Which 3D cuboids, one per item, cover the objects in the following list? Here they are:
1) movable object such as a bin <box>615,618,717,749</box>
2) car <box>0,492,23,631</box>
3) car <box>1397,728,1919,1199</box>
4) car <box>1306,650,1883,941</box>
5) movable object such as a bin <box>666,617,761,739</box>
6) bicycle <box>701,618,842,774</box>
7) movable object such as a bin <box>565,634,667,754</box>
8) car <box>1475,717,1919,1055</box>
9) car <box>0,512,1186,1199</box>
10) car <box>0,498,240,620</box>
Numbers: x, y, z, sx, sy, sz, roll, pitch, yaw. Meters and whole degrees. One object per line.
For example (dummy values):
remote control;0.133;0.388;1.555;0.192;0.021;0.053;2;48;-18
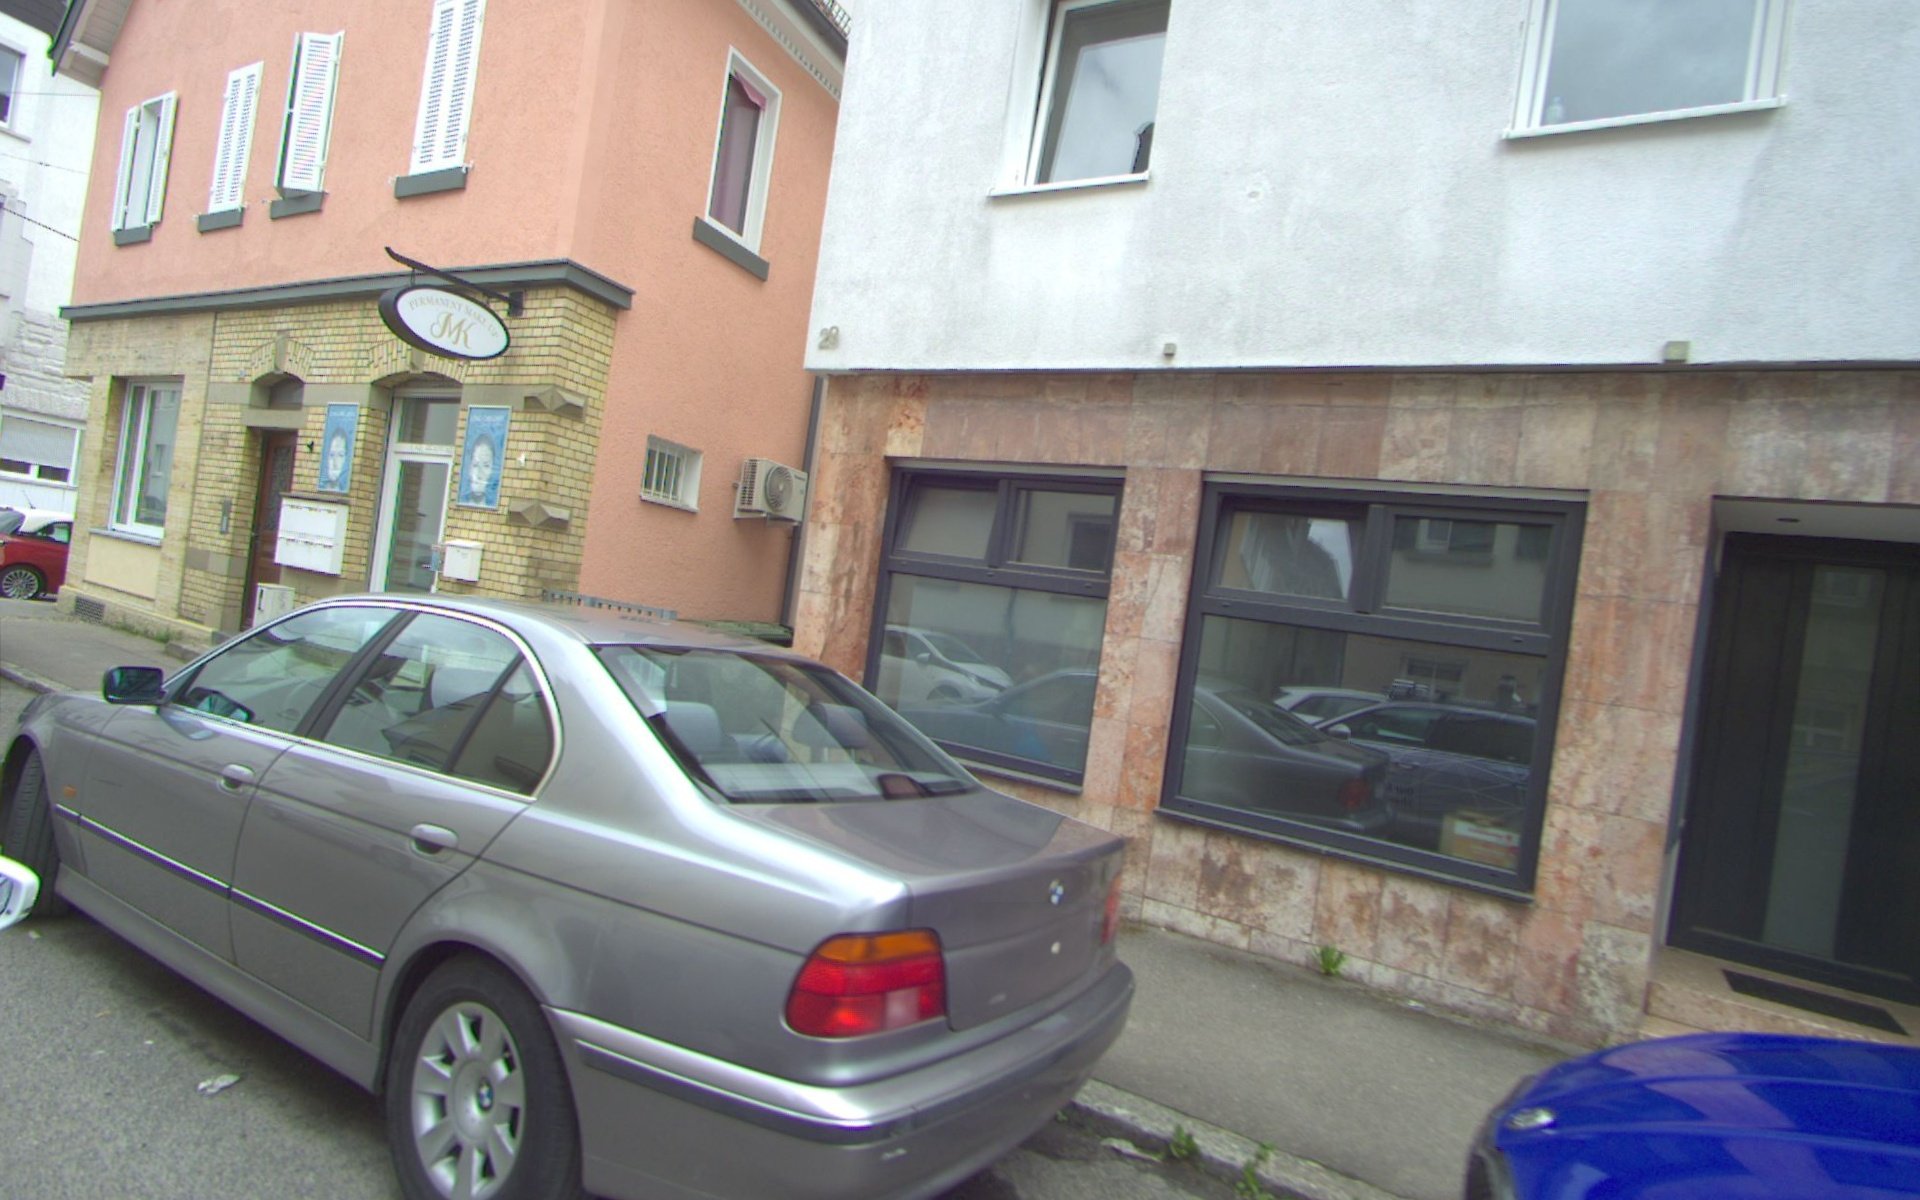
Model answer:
movable object such as a bin;-2.678;0.750;9.173;0.594;1.074;0.504;8;1;27
car;-10.355;-0.458;8.832;3.958;1.560;1.824;7;-3;29
car;2.565;1.144;0.904;3.863;1.448;1.756;6;-3;32
car;5.446;1.577;9.128;3.947;1.684;1.647;6;-3;33
movable object such as a bin;-2.389;0.748;9.749;0.594;1.074;0.504;8;1;27
bicycle;-1.599;0.838;8.677;0.290;1.233;1.199;8;-1;34
movable object such as a bin;-2.961;0.799;8.676;0.537;0.936;0.504;8;1;27
car;5.433;1.730;5.976;3.949;1.448;1.646;6;-3;35
car;-1.728;0.669;3.596;4.501;1.431;1.793;6;-4;31
car;-14.521;-0.692;16.775;1.643;1.495;3.629;8;-3;24
